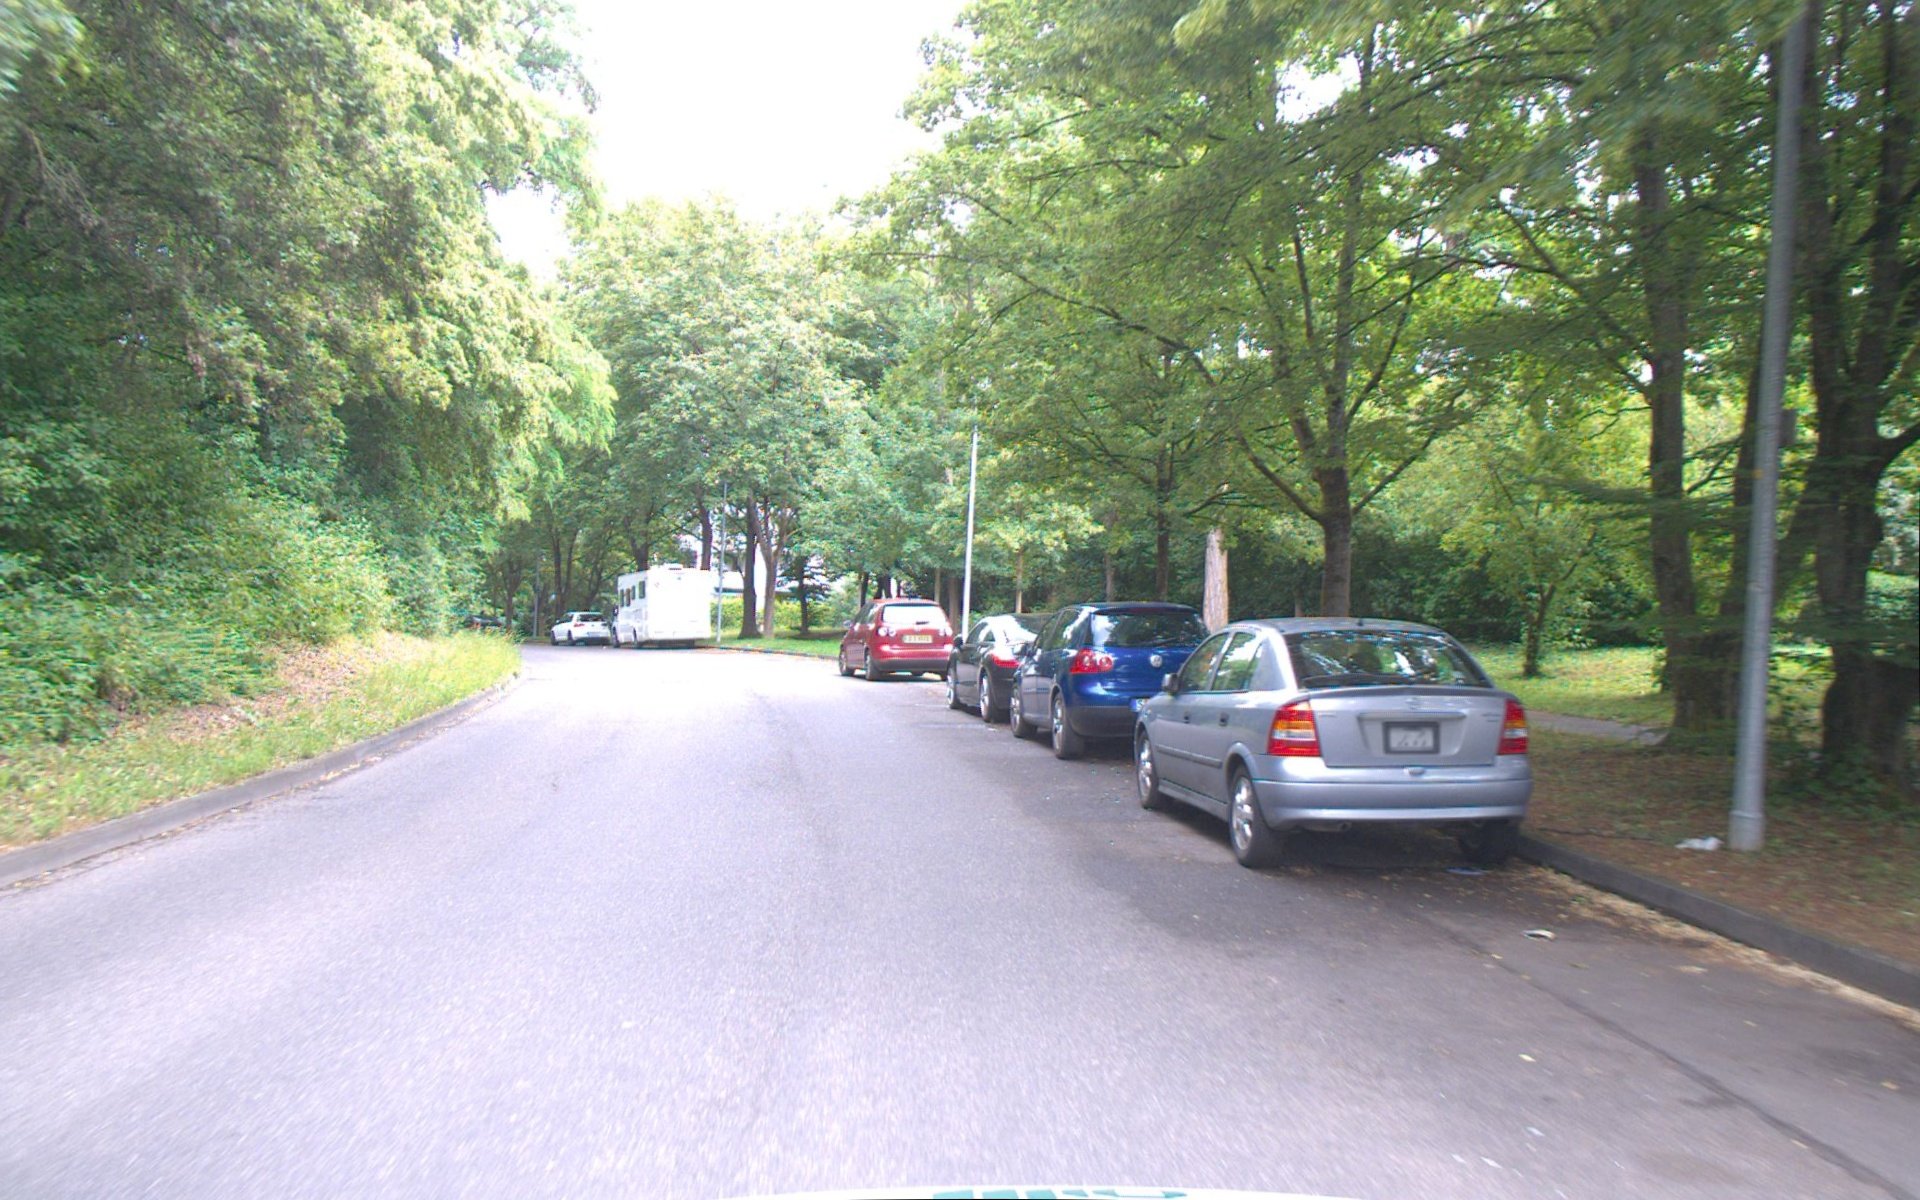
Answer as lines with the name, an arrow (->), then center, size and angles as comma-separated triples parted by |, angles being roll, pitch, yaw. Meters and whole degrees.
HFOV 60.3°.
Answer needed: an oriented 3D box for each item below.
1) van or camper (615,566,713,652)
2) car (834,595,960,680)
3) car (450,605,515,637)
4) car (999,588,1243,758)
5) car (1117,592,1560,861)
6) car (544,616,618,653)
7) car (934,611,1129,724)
van or camper -> -11.070, 0.299, 61.452 | 2.398, 3.060, 5.168 | 0, 0, -25
car -> -1.321, 0.723, 33.115 | 1.709, 1.590, 3.984 | 0, -1, -15
car -> -25.224, 1.080, 87.257 | 1.979, 1.527, 3.947 | 3, -1, -37
car -> 1.580, 0.719, 17.713 | 1.682, 1.536, 4.174 | 3, -1, -7
car -> 2.274, 0.709, 11.025 | 1.684, 1.456, 3.943 | 0, -1, -6
car -> -16.798, 1.512, 73.280 | 1.974, 1.499, 3.956 | 3, -1, -32
car -> 0.850, 0.848, 22.419 | 1.718, 1.360, 4.404 | 1, -1, -10
